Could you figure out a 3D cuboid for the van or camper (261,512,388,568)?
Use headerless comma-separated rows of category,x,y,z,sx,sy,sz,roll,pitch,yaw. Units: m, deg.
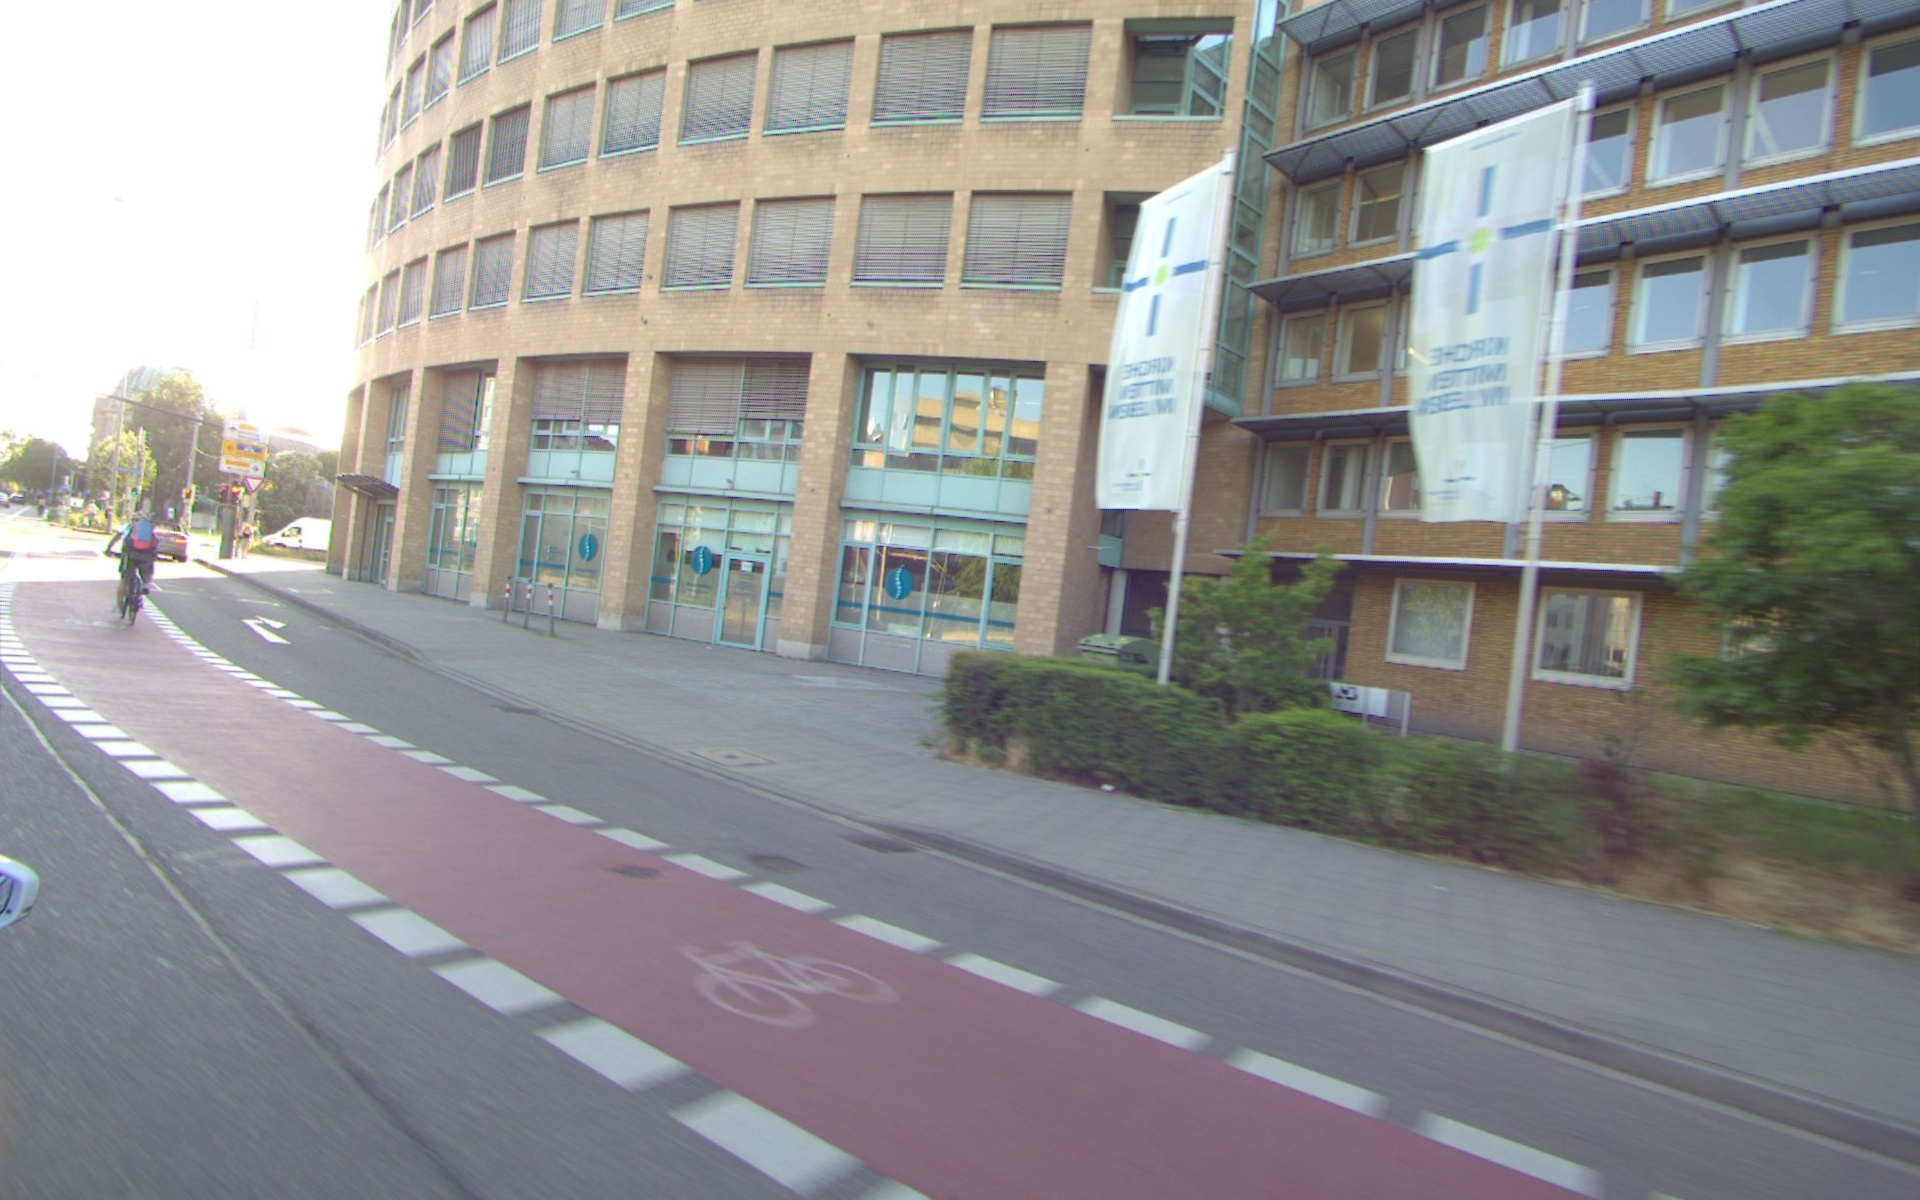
van or camper,-43.918,-4.110,69.636,7.015,2.707,2.568,8,0,-41

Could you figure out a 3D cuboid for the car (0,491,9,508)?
car,-100.666,-10.625,104.934,3.946,1.585,1.790,8,1,44

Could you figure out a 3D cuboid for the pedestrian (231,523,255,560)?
pedestrian,-33.054,-2.697,46.382,0.675,1.589,0.790,6,2,-45

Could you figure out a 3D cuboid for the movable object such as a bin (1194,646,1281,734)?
movable object such as a bin,5.112,1.651,18.490,0.911,1.442,1.339,8,1,40

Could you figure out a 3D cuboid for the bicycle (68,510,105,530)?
bicycle,-56.659,-5.200,65.242,1.723,0.981,0.602,9,0,-43

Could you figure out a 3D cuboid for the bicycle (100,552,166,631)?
bicycle,-12.288,-0.144,14.932,0.514,0.965,1.753,9,-1,-44

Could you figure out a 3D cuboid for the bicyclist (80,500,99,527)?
bicyclist,-56.513,-5.633,65.316,0.795,1.591,0.655,7,1,-42

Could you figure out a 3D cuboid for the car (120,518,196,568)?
car,-29.551,-2.131,37.022,1.779,1.370,4.214,9,-1,-43

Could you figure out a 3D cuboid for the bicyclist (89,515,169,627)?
bicyclist,-12.205,-0.431,14.774,0.654,1.500,1.025,10,-2,-45

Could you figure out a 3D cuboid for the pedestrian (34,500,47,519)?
pedestrian,-77.910,-7.655,85.269,0.613,1.493,0.791,7,1,-38

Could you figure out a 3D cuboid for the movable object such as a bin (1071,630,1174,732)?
movable object such as a bin,2.683,1.330,16.744,0.961,1.455,1.337,7,1,-23

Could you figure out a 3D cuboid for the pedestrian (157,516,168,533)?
pedestrian,-82.206,-7.825,103.675,0.679,1.631,0.605,7,2,-42
